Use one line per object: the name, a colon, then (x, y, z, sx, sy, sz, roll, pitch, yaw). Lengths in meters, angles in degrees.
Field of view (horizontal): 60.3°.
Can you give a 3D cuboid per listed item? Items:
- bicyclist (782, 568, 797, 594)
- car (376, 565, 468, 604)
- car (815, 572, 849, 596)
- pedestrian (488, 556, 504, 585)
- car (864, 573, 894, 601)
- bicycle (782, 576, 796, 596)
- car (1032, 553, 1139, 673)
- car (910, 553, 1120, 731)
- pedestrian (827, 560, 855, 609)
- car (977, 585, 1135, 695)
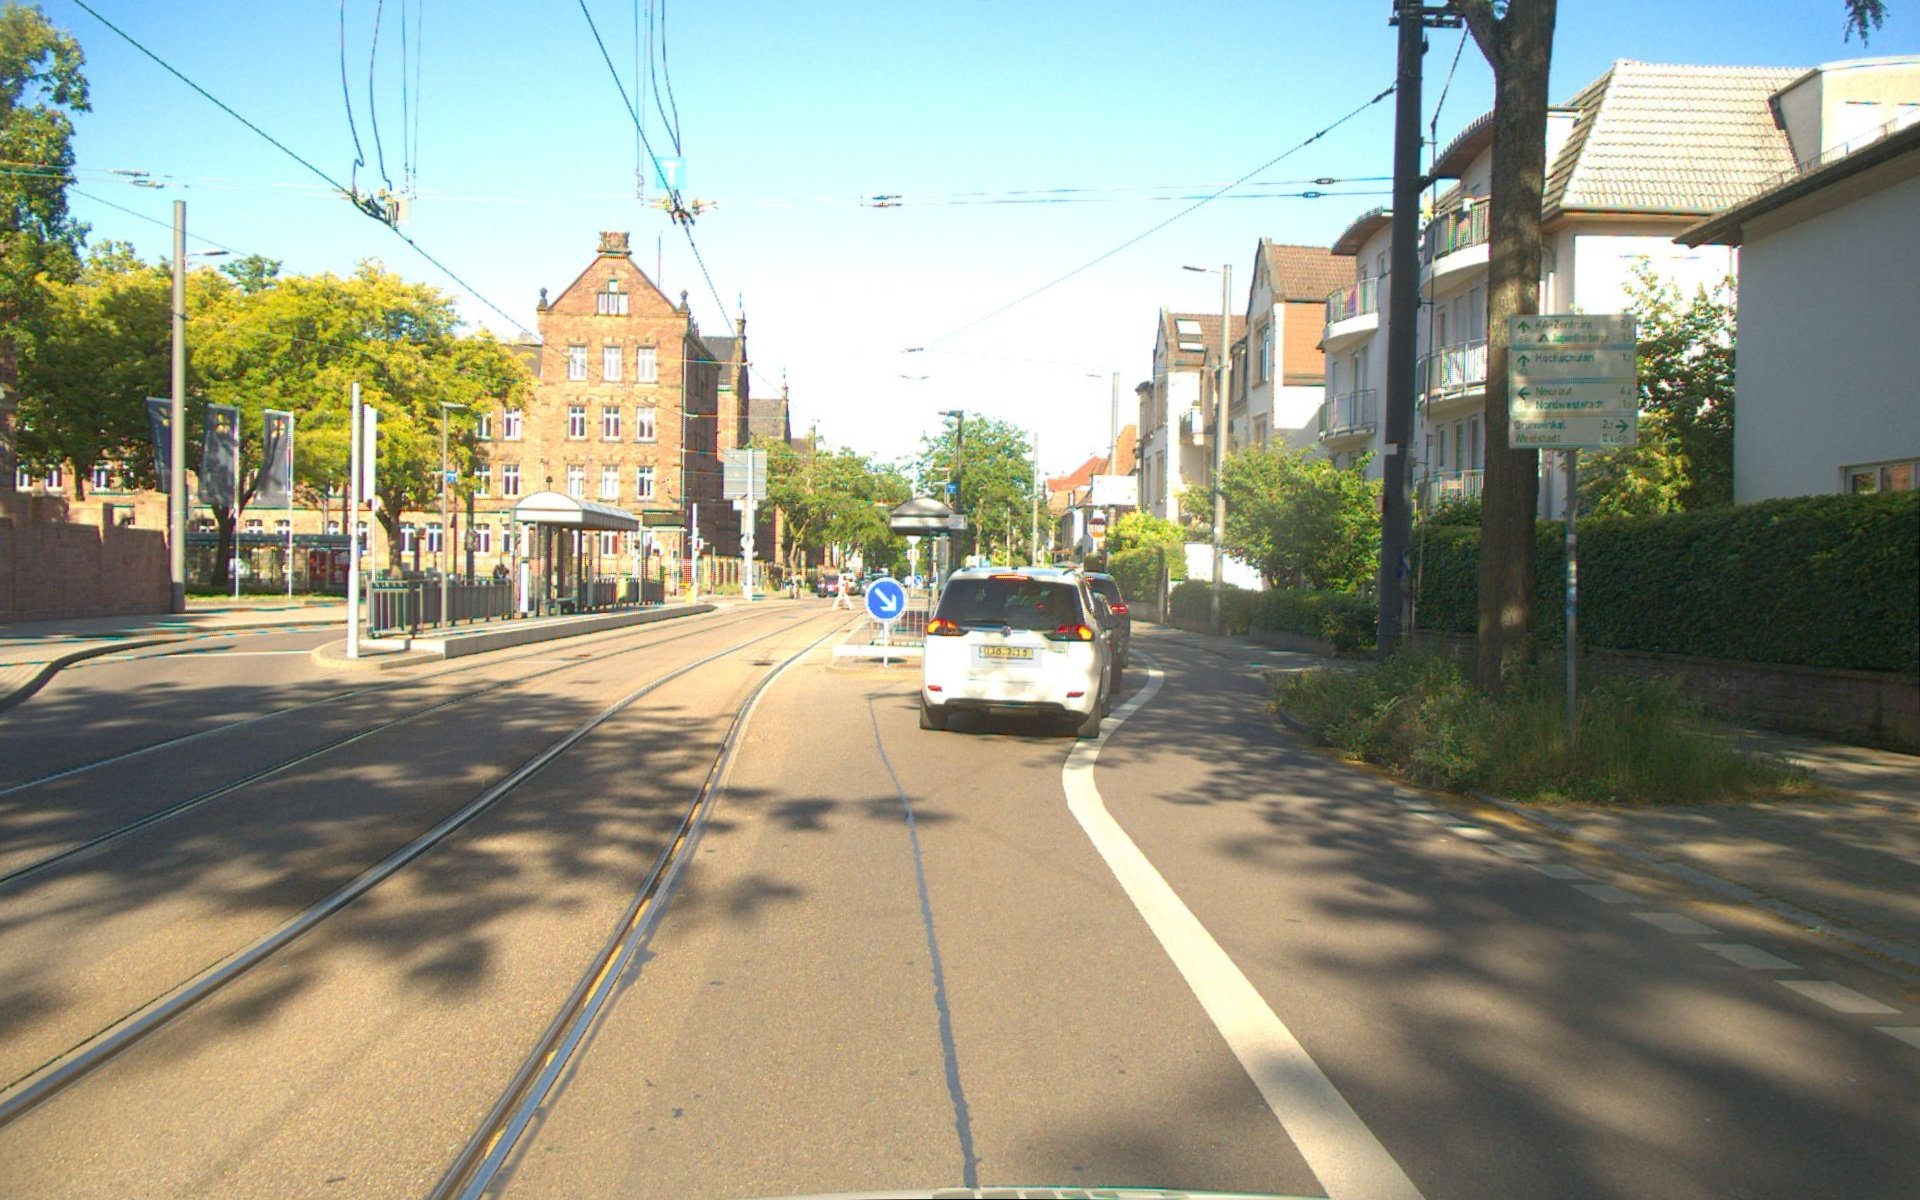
bicyclist: (-11.646, -1.305, 113.124, 0.924, 1.765, 0.861, 1, 0, -1)
car: (-26.210, -0.768, 80.657, 3.909, 1.821, 1.998, 1, 0, -5)
car: (-9.552, -1.208, 123.920, 1.952, 1.752, 4.002, 1, 1, 4)
pedestrian: (-20.915, -1.328, 74.564, 0.547, 1.281, 0.530, 0, 0, -2)
car: (-5.721, -0.892, 117.361, 1.953, 1.947, 4.000, 1, 0, 0)
bicycle: (-11.656, -0.970, 112.837, 0.805, 1.319, 2.676, 1, 1, -2)
car: (2.364, 0.208, 30.403, 1.672, 2.049, 3.910, 0, 0, 9)
car: (0.713, 0.441, 17.628, 1.852, 1.639, 4.231, 1, -1, 7)
pedestrian: (-5.092, -0.670, 70.901, 1.132, 2.049, 1.119, 0, 1, -1)
car: (1.499, 0.520, 24.278, 1.951, 1.467, 4.003, 1, 0, 8)
